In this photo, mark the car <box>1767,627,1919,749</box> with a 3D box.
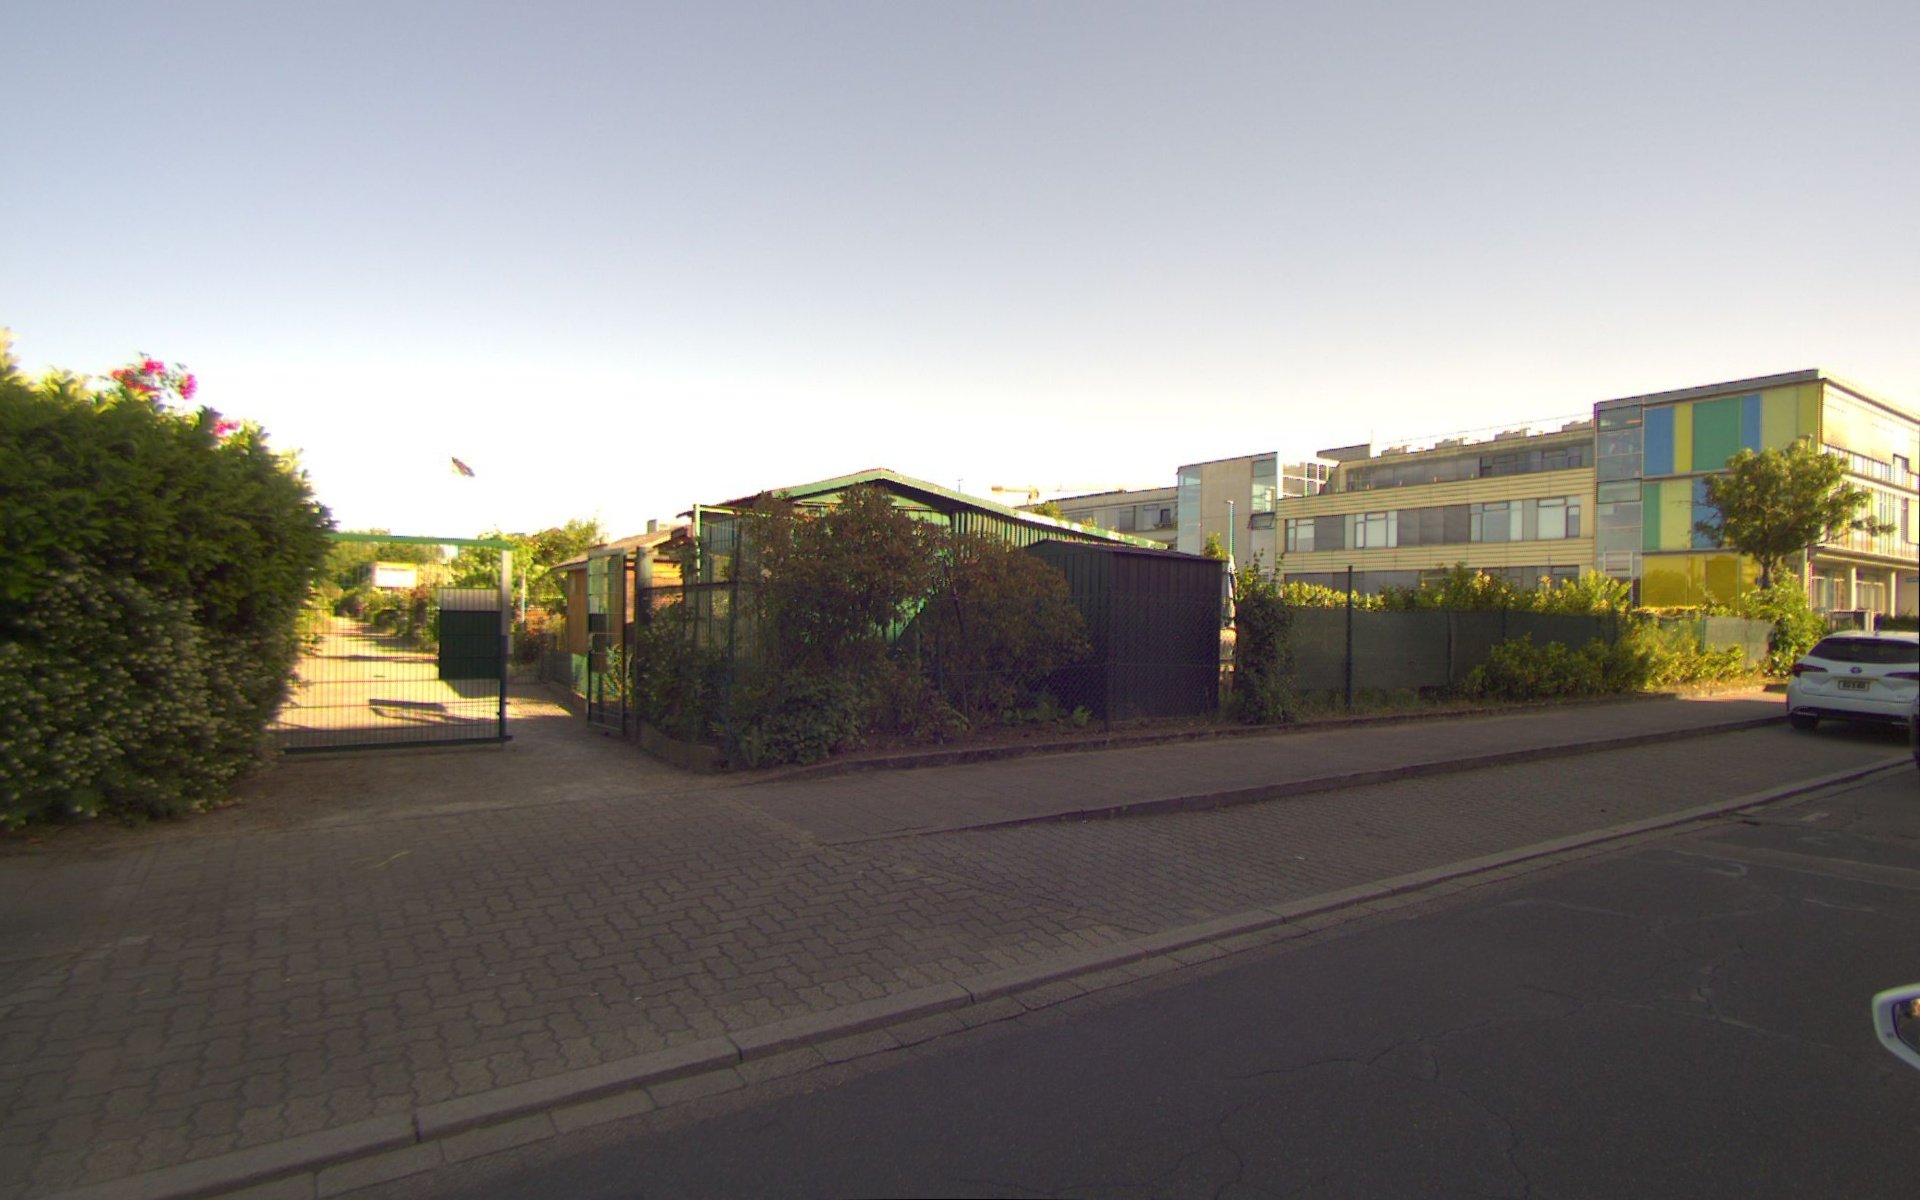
[{"bbox_3d":[13.557,1.159,14.497,4.495,1.465,1.736,1,1,-35],"label":"car"}]

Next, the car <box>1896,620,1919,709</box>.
[{"bbox_3d":[18.720,1.177,18.175,4.472,1.534,1.684,1,1,-35],"label":"car"}]

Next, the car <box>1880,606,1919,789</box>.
[{"bbox_3d":[11.587,0.956,10.163,4.778,1.750,1.935,1,-1,-29],"label":"car"}]
